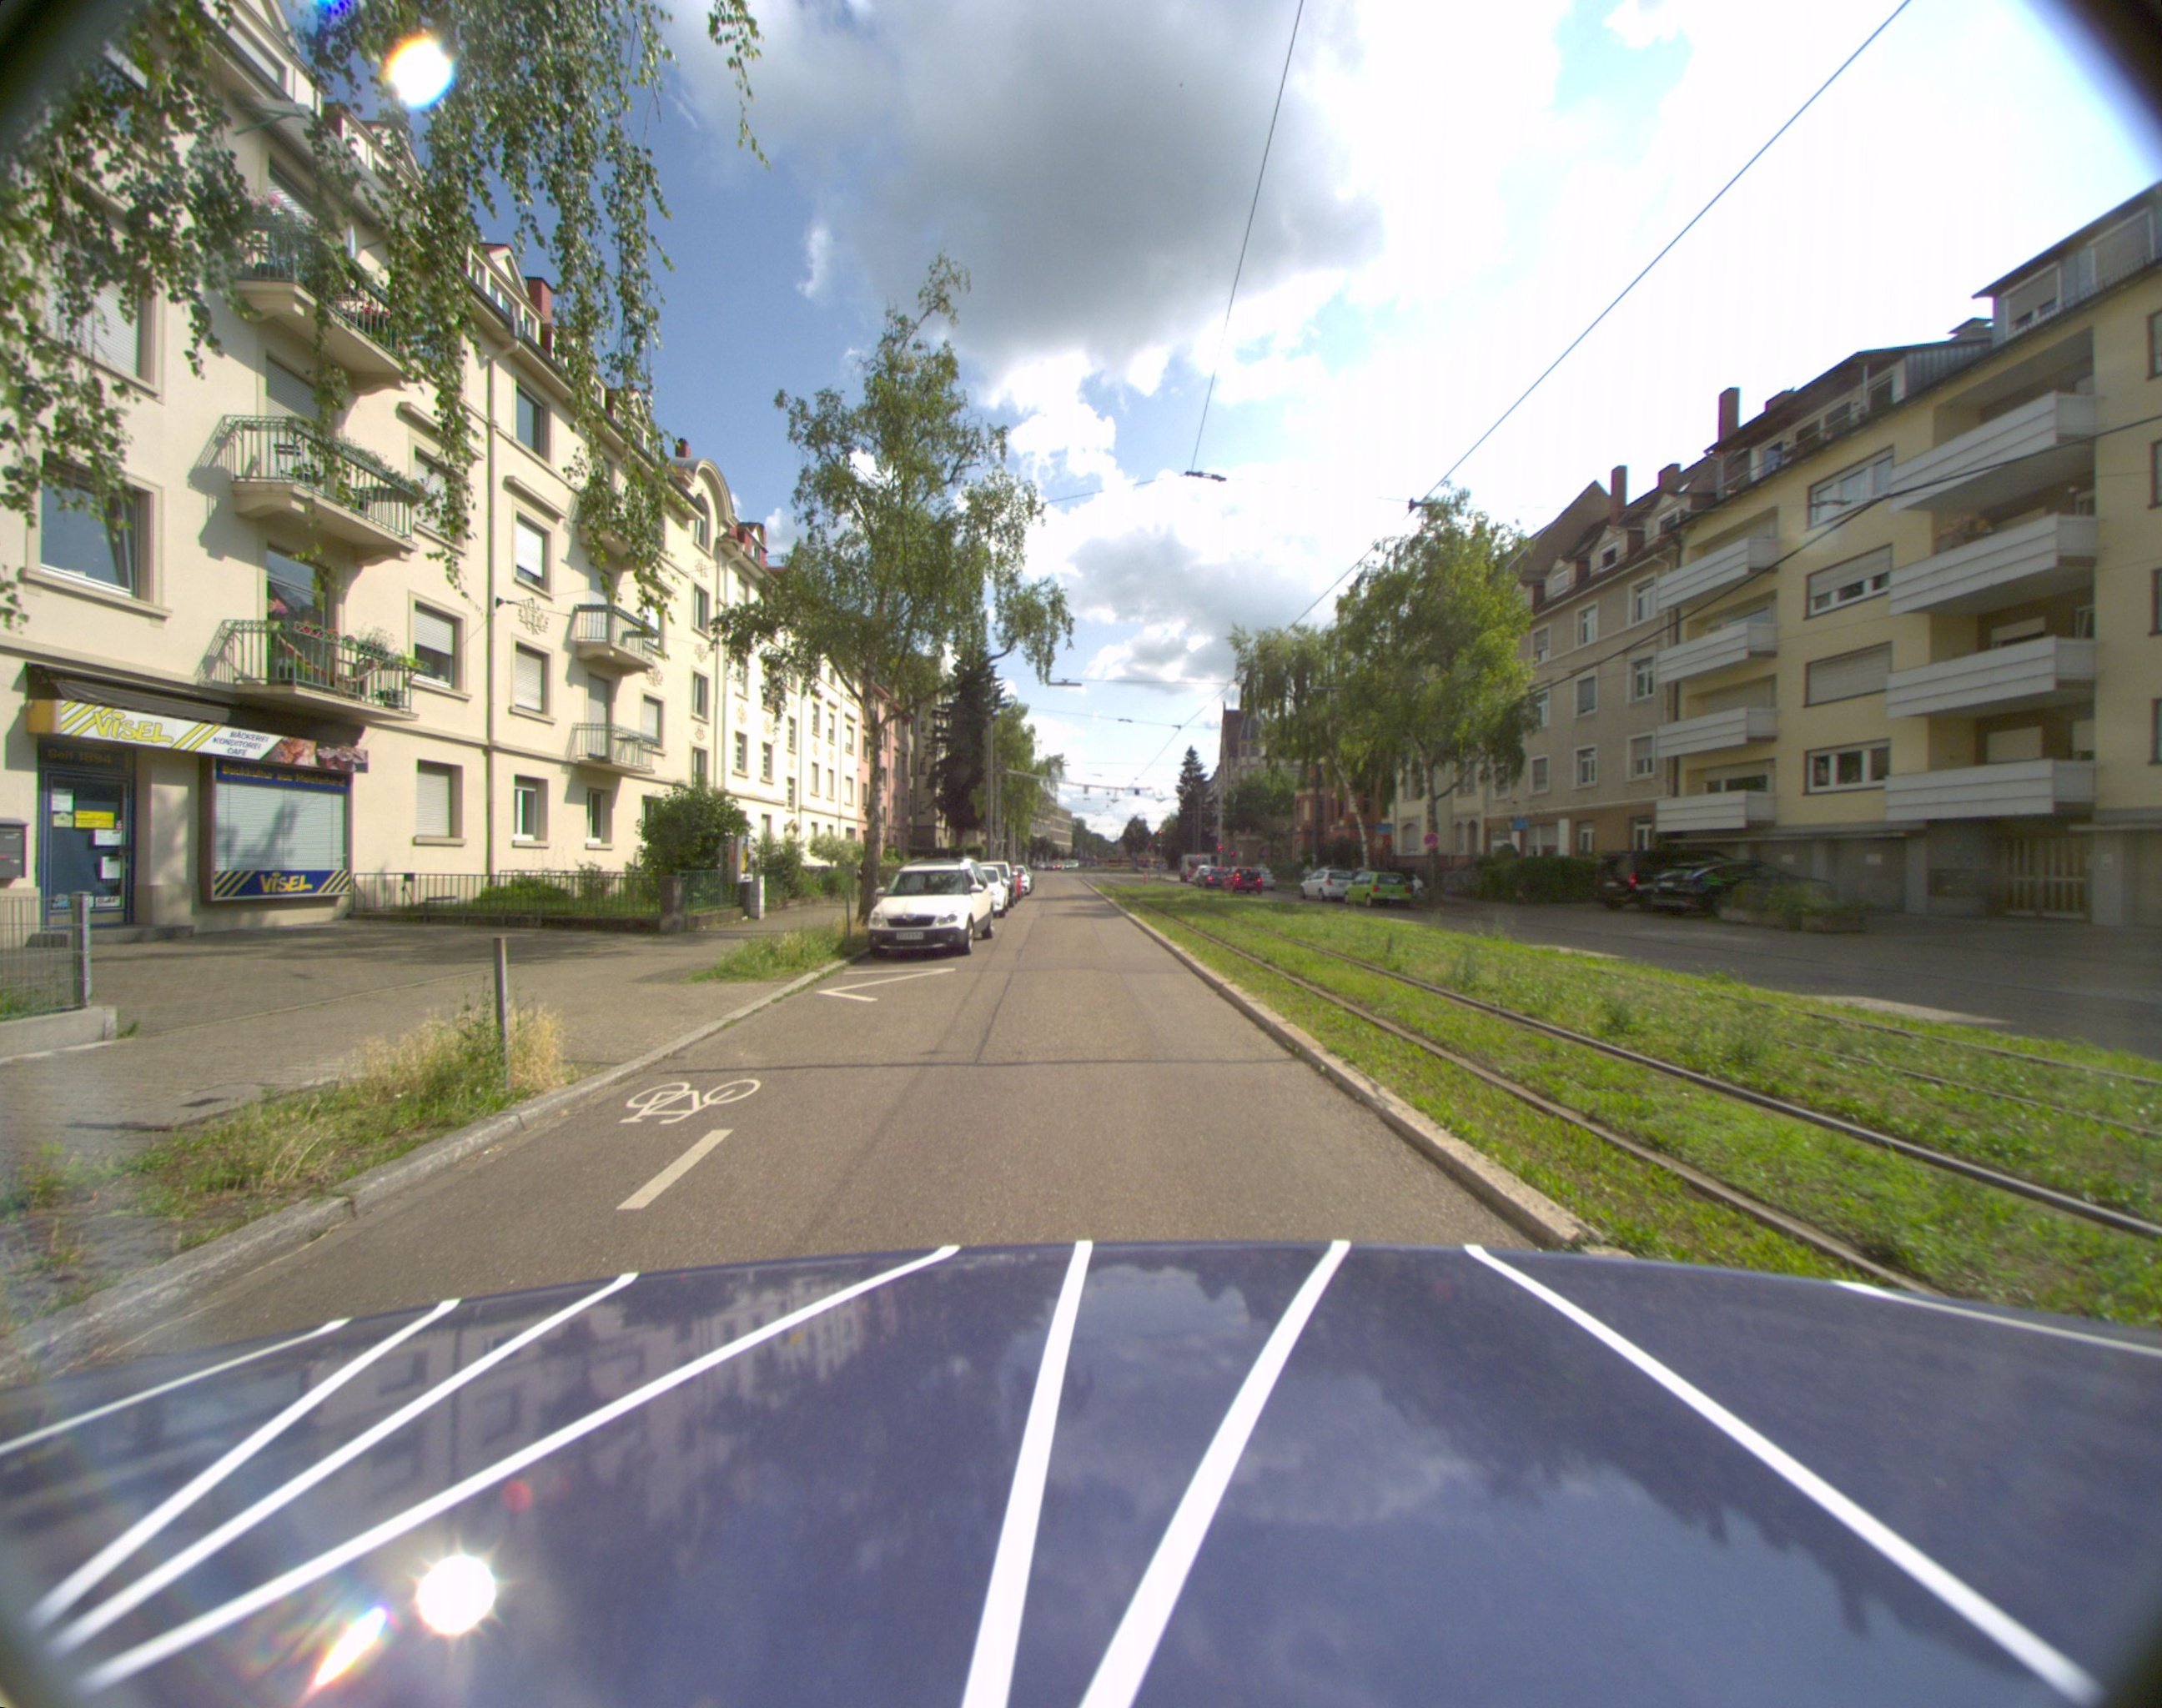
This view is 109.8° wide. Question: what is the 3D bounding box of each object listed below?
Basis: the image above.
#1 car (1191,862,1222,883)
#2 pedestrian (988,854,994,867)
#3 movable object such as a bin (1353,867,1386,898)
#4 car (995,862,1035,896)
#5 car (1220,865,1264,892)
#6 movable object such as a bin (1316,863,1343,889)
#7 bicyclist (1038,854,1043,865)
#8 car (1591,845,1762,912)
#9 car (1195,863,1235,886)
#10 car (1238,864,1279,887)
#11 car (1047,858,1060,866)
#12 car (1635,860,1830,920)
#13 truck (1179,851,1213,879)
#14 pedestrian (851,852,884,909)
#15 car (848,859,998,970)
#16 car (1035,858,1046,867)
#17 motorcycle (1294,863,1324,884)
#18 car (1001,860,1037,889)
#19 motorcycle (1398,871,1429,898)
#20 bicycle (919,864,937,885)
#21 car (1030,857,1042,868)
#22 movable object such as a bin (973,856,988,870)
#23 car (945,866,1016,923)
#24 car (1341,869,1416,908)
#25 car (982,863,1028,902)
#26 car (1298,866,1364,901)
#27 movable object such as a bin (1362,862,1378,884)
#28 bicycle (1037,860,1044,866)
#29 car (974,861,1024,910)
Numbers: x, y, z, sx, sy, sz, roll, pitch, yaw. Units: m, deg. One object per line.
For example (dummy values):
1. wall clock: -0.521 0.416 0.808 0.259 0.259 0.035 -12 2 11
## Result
1. car: 9.152 1.323 55.539 1.759 1.406 4.134 2 0 3
2. pedestrian: -12.738 0.888 107.752 0.737 1.832 0.805 0 1 -17
3. movable object such as a bin: 14.061 1.370 37.085 0.953 1.421 1.521 -2 0 -2
4. car: -3.158 1.148 36.928 1.624 1.444 3.918 -3 0 -1
5. car: 8.845 1.304 42.027 1.583 1.378 3.692 1 0 -1
6. movable object such as a bin: 14.249 1.246 43.614 0.953 1.359 1.521 -4 0 -2
7. bicyclist: -6.131 0.857 115.723 0.665 1.679 0.857 1 0 4
8. car: 19.276 0.785 24.753 3.996 2.002 1.937 -1 0 2
9. car: 8.658 1.293 49.270 1.759 1.348 4.512 2 0 0
10. car: 11.446 1.376 49.231 1.759 1.348 3.995 1 0 0
11. car: -4.377 1.300 123.033 1.741 1.313 4.001 -1 0 2
12. car: 18.850 1.008 22.132 3.997 1.593 1.973 -1 0 -1
13. truck: 9.765 0.944 65.171 2.190 2.201 6.614 1 0 3
14. pedestrian: -6.473 0.806 23.033 0.731 1.673 0.691 2 0 2
15. car: -2.638 0.947 13.628 1.725 1.620 4.000 -2 0 1
16. car: -7.459 1.624 140.613 1.836 1.674 3.999 1 0 -2
17. motorcycle: 13.877 1.188 46.400 0.903 1.235 2.293 0 0 -7
18. car: -3.519 1.140 43.667 1.796 1.512 4.526 -2 0 -2
19. motorcycle: 14.186 1.290 32.459 0.500 1.036 1.632 -3 1 -2
20. bicycle: -8.049 1.066 39.953 0.472 1.071 2.183 1 0 0
21. car: -7.865 1.461 132.271 1.999 1.730 3.999 1 0 -3
22. movable object such as a bin: -10.416 0.924 78.859 1.305 1.483 2.000 1 0 -1
23. car: -2.874 1.121 22.390 1.677 1.408 3.794 -2 0 -2
24. car: 11.967 1.342 30.814 1.598 1.423 3.614 1 0 0
25. car: -3.208 1.174 32.463 1.593 1.444 3.844 -3 0 -1
26. car: 11.695 1.339 35.807 1.649 1.469 4.225 2 0 -1
27. movable object such as a bin: 17.305 1.134 45.491 0.675 1.354 0.699 0 0 -5
28. bicycle: -6.114 1.355 115.736 0.771 0.885 1.892 1 0 4
29. car: -2.881 1.078 27.284 1.497 1.570 3.758 -2 0 -3
